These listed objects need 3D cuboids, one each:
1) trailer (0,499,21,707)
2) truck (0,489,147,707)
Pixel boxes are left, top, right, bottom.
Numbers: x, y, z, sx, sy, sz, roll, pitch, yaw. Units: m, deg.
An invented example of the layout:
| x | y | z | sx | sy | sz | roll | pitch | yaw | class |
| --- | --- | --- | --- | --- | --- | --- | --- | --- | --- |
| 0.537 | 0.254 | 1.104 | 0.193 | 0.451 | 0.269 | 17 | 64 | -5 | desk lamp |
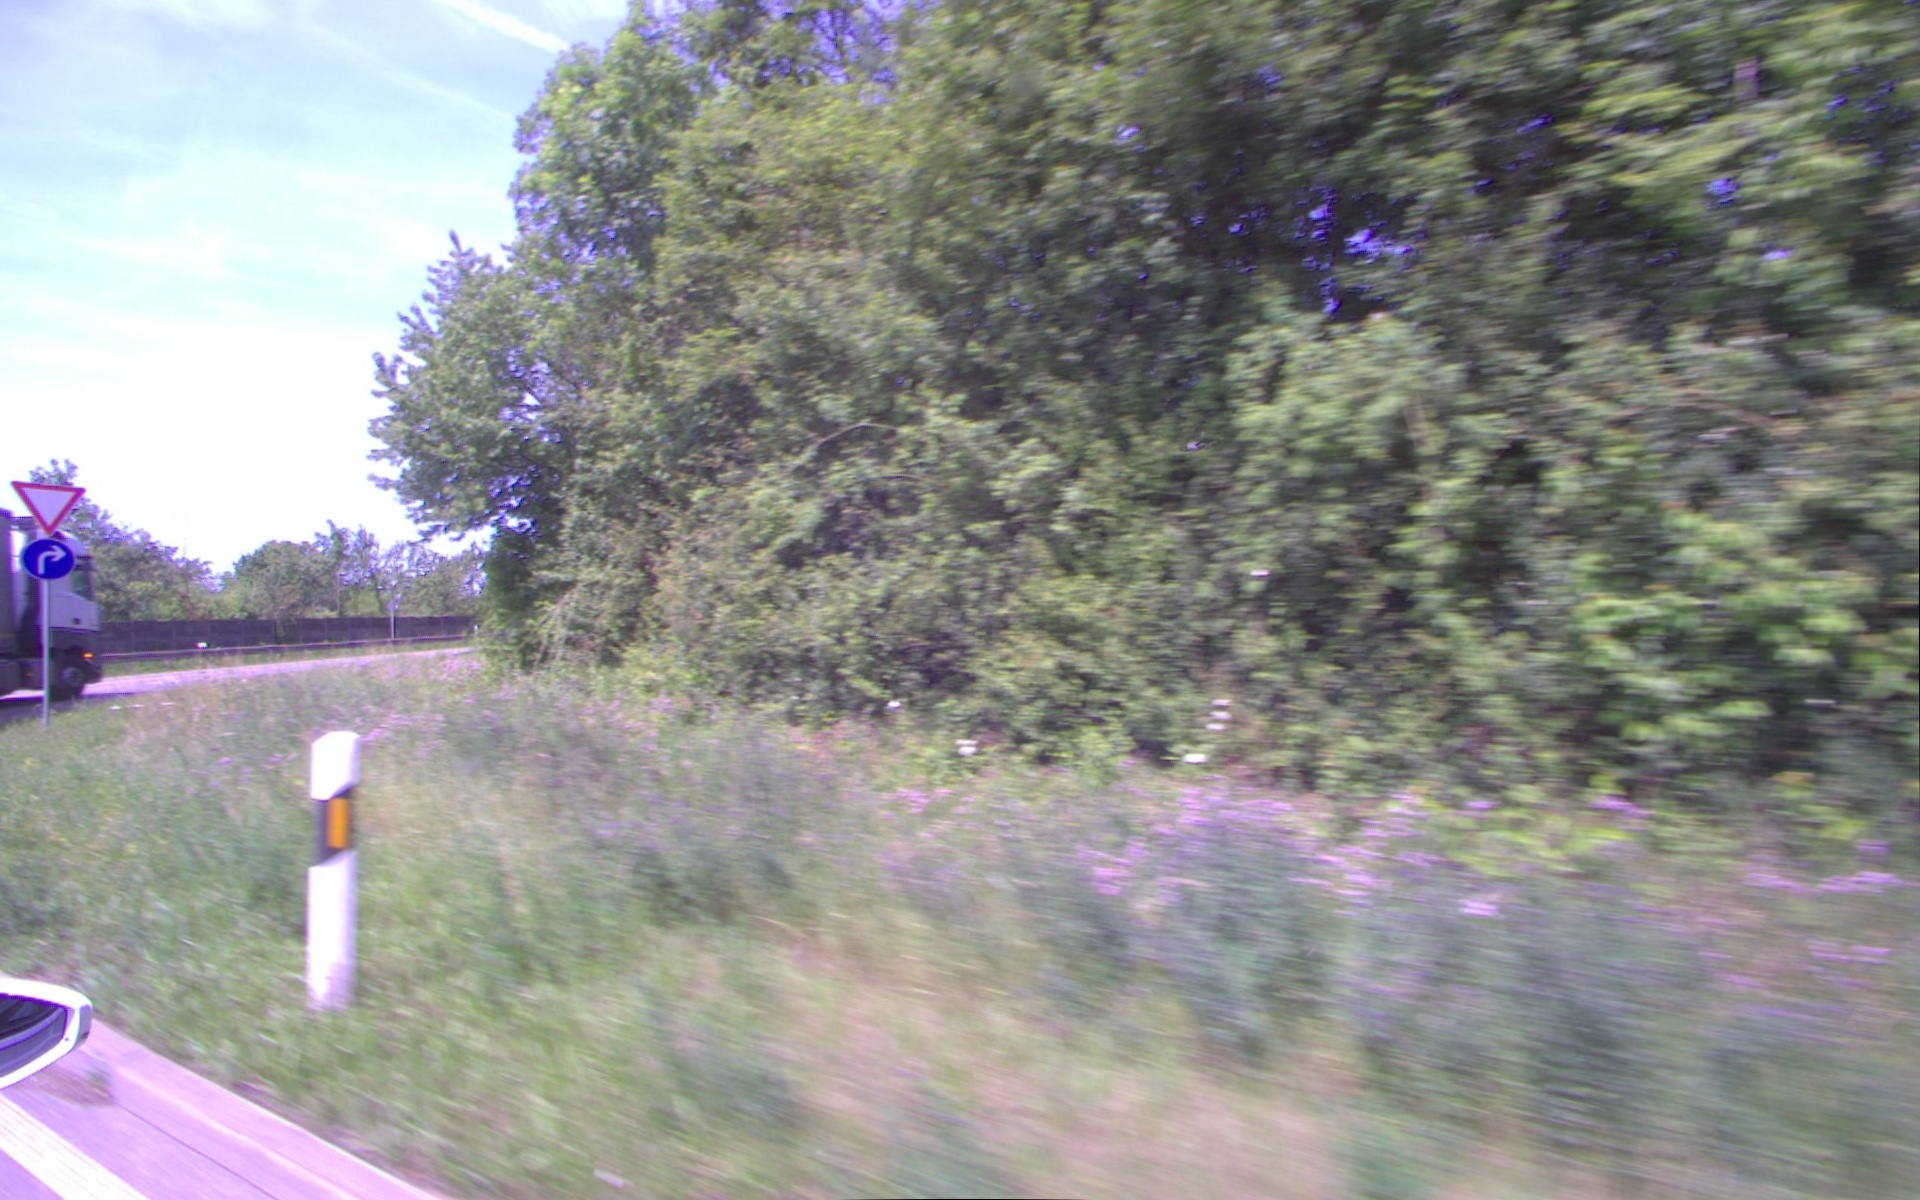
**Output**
| x | y | z | sx | sy | sz | roll | pitch | yaw | class |
| --- | --- | --- | --- | --- | --- | --- | --- | --- | --- |
| -17.412 | -0.063 | 14.414 | 2.995 | 4.087 | 13.278 | -1 | -1 | -32 | trailer |
| -21.069 | -0.009 | 21.494 | 3.107 | 4.280 | 7.108 | -1 | 0 | -17 | truck |
